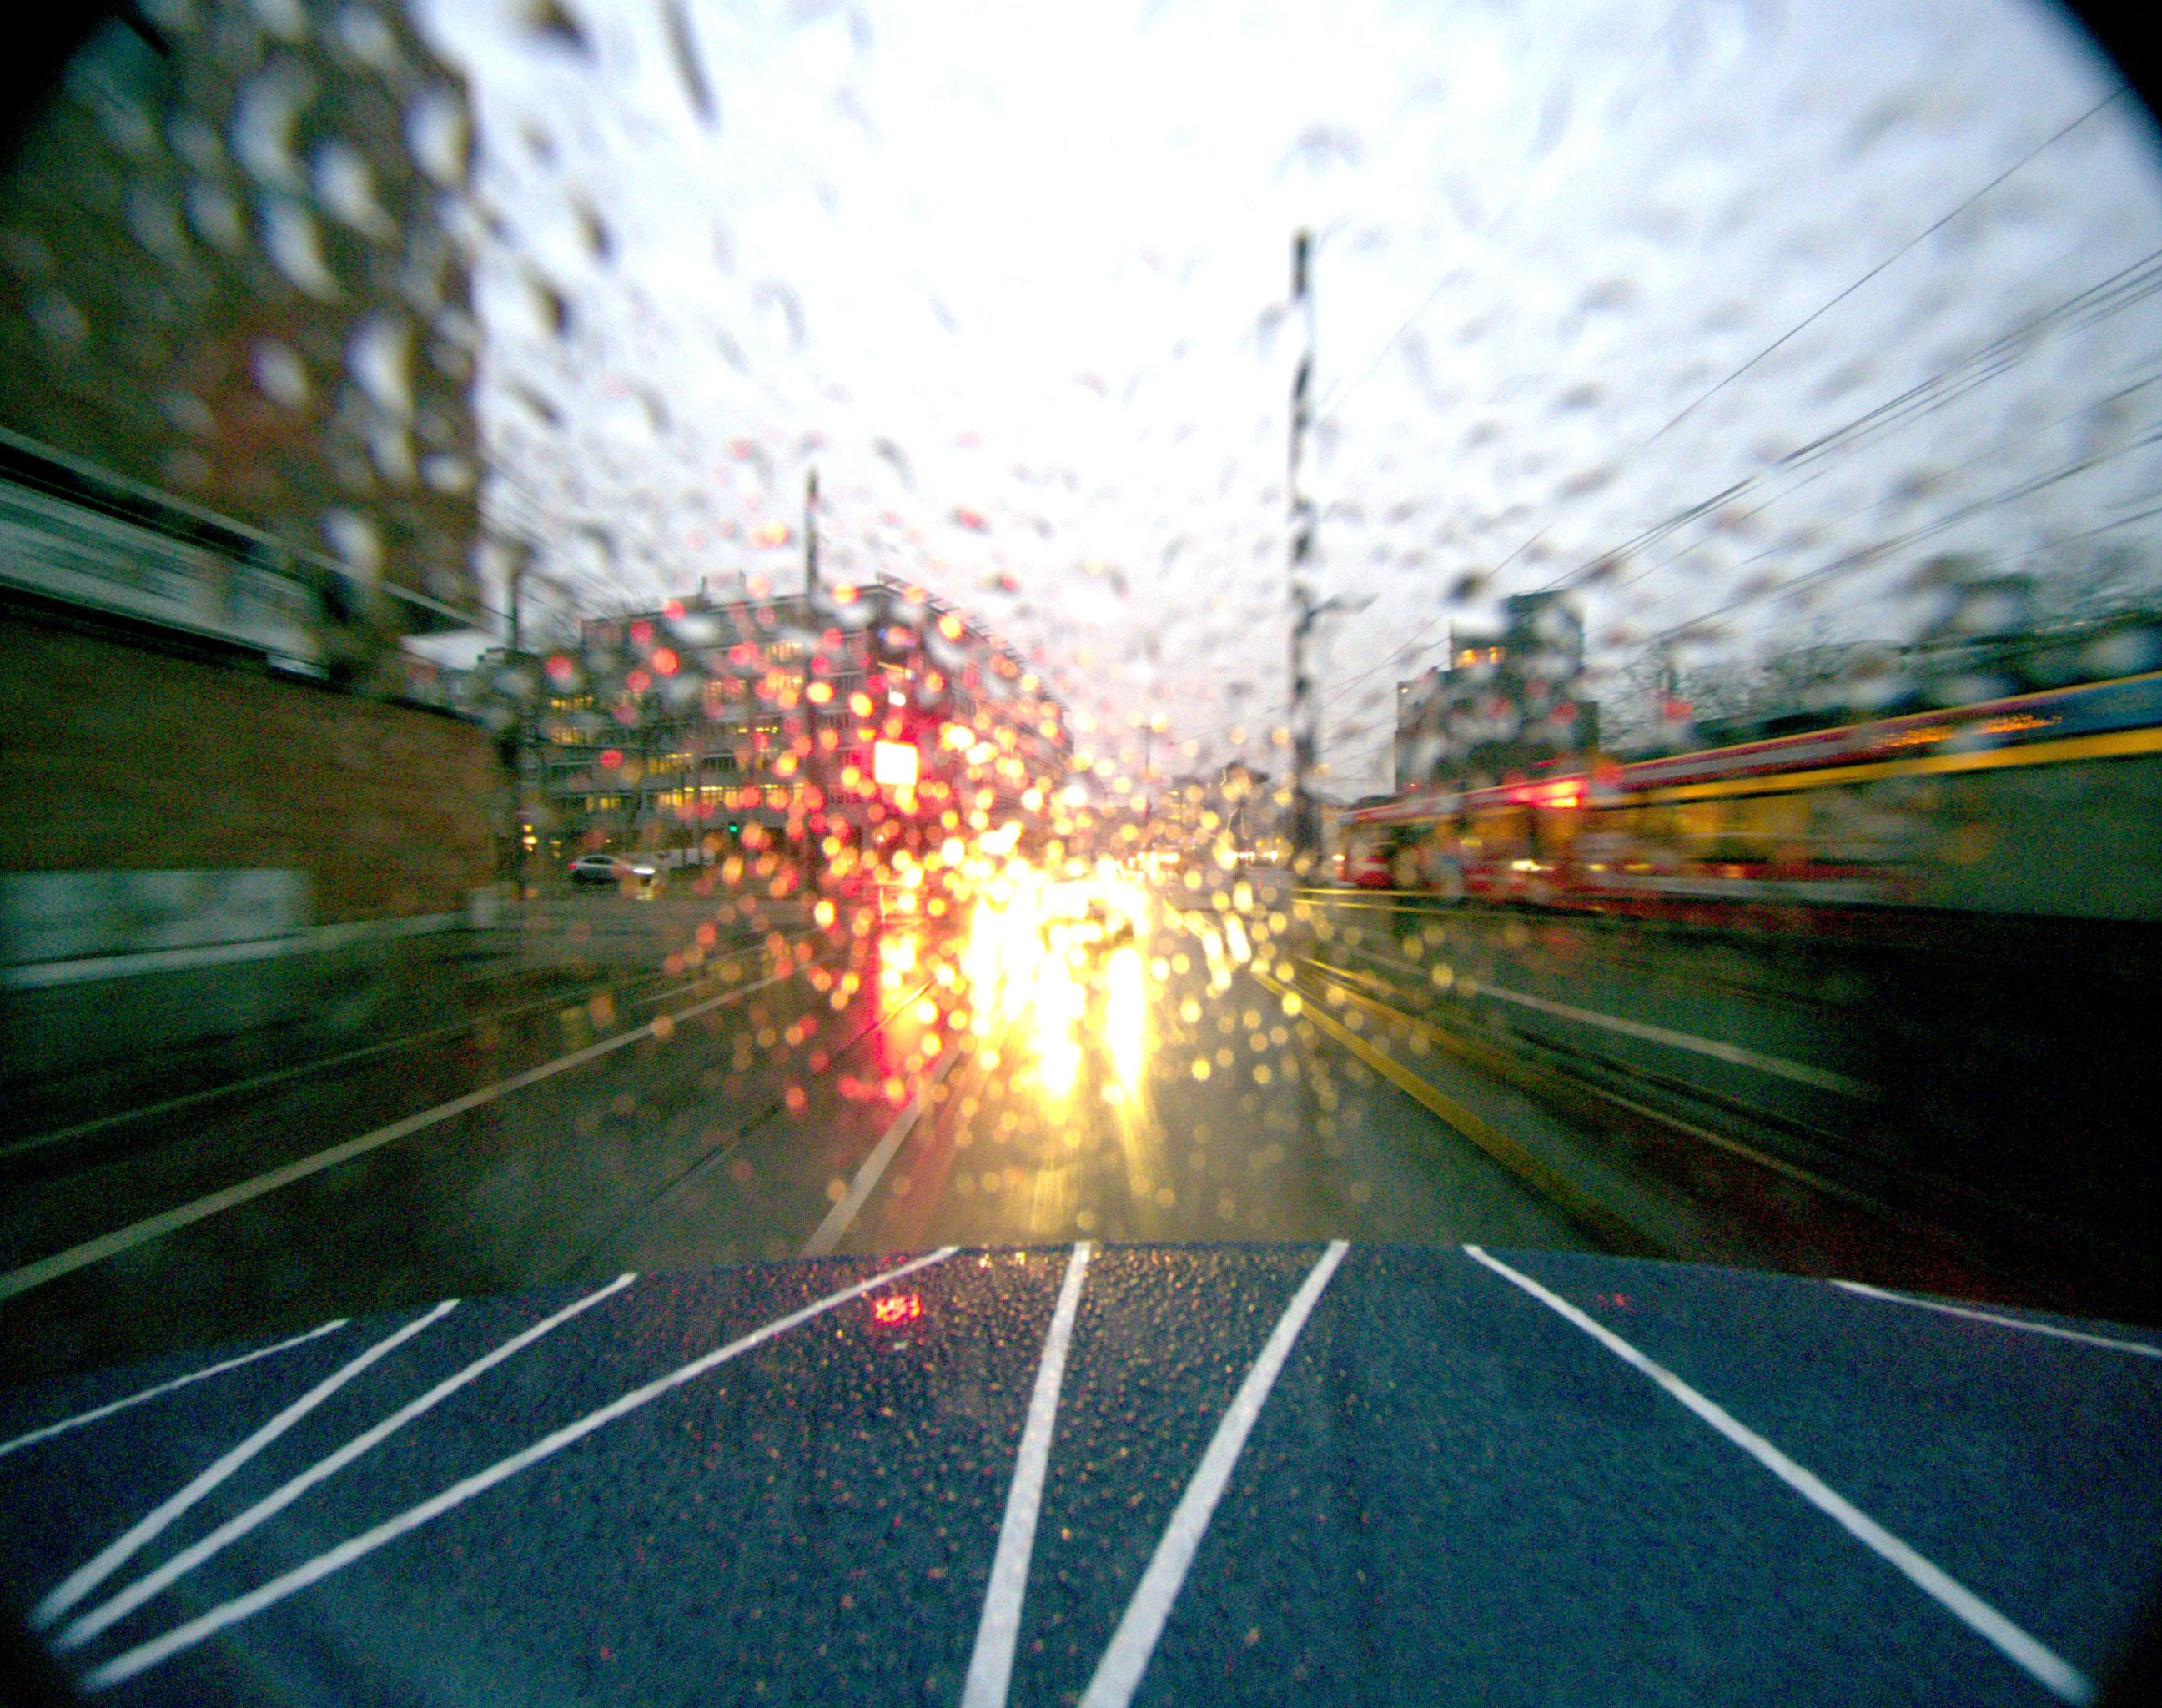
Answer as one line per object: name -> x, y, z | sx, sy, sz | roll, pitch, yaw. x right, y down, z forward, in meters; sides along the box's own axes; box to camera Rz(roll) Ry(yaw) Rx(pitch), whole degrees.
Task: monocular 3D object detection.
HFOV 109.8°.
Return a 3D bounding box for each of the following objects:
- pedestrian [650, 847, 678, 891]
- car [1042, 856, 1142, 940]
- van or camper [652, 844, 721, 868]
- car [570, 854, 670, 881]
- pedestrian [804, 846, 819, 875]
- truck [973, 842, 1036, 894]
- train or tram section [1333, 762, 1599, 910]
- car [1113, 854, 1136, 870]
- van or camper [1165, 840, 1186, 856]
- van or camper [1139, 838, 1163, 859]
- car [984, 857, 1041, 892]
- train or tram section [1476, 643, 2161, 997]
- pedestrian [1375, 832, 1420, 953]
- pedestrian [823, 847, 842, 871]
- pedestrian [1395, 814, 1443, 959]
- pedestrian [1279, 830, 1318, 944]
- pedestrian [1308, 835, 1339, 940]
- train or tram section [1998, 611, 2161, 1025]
pedestrian -> -17.214, 0.602, 31.385 | 0.735, 1.777, 0.735 | 0, 1, -1
car -> 0.267, 0.810, 15.915 | 1.773, 1.449, 4.222 | -2, 0, 2
van or camper -> -32.628, 0.137, 62.860 | 4.743, 1.918, 1.842 | -1, 1, 4
car -> -23.296, 0.681, 38.452 | 3.989, 1.333, 1.815 | 0, 1, 5
pedestrian -> -16.852, 0.377, 47.500 | 0.801, 1.800, 0.649 | -1, 1, -31
truck -> -3.041, 0.537, 31.206 | 1.909, 1.906, 4.617 | -2, 0, 2
train or tram section -> 11.540, -0.495, 24.900 | 2.957, 3.568, 12.256 | -2, 0, 3
car -> 4.578, 0.817, 79.755 | 1.682, 1.564, 3.764 | 0, 1, 14
van or camper -> 14.151, -0.895, 113.417 | 2.183, 2.338, 5.656 | -2, 0, 17
van or camper -> 8.703, -0.716, 94.012 | 2.059, 2.533, 5.891 | -2, 1, 14
car -> -3.907, 1.139, 44.099 | 1.907, 1.809, 4.693 | -2, 0, 12
train or tram section -> 11.015, -0.400, 13.237 | 2.931, 3.557, 11.036 | -2, 0, 3
pedestrian -> 4.579, 0.545, 11.022 | 0.434, 1.725, 0.473 | -1, 1, -3
pedestrian -> -18.127, 0.345, 55.372 | 1.152, 1.777, 0.777 | 0, 1, -7
pedestrian -> 4.671, 0.443, 10.508 | 0.434, 1.956, 0.473 | -1, 1, -3
pedestrian -> 3.591, 0.524, 12.594 | 0.413, 1.835, 0.669 | -1, 1, -3
pedestrian -> 4.143, 0.563, 13.002 | 0.360, 1.776, 0.440 | -1, 1, -3
train or tram section -> 10.494, -0.305, 2.127 | 2.906, 3.547, 11.036 | -2, 0, 3
